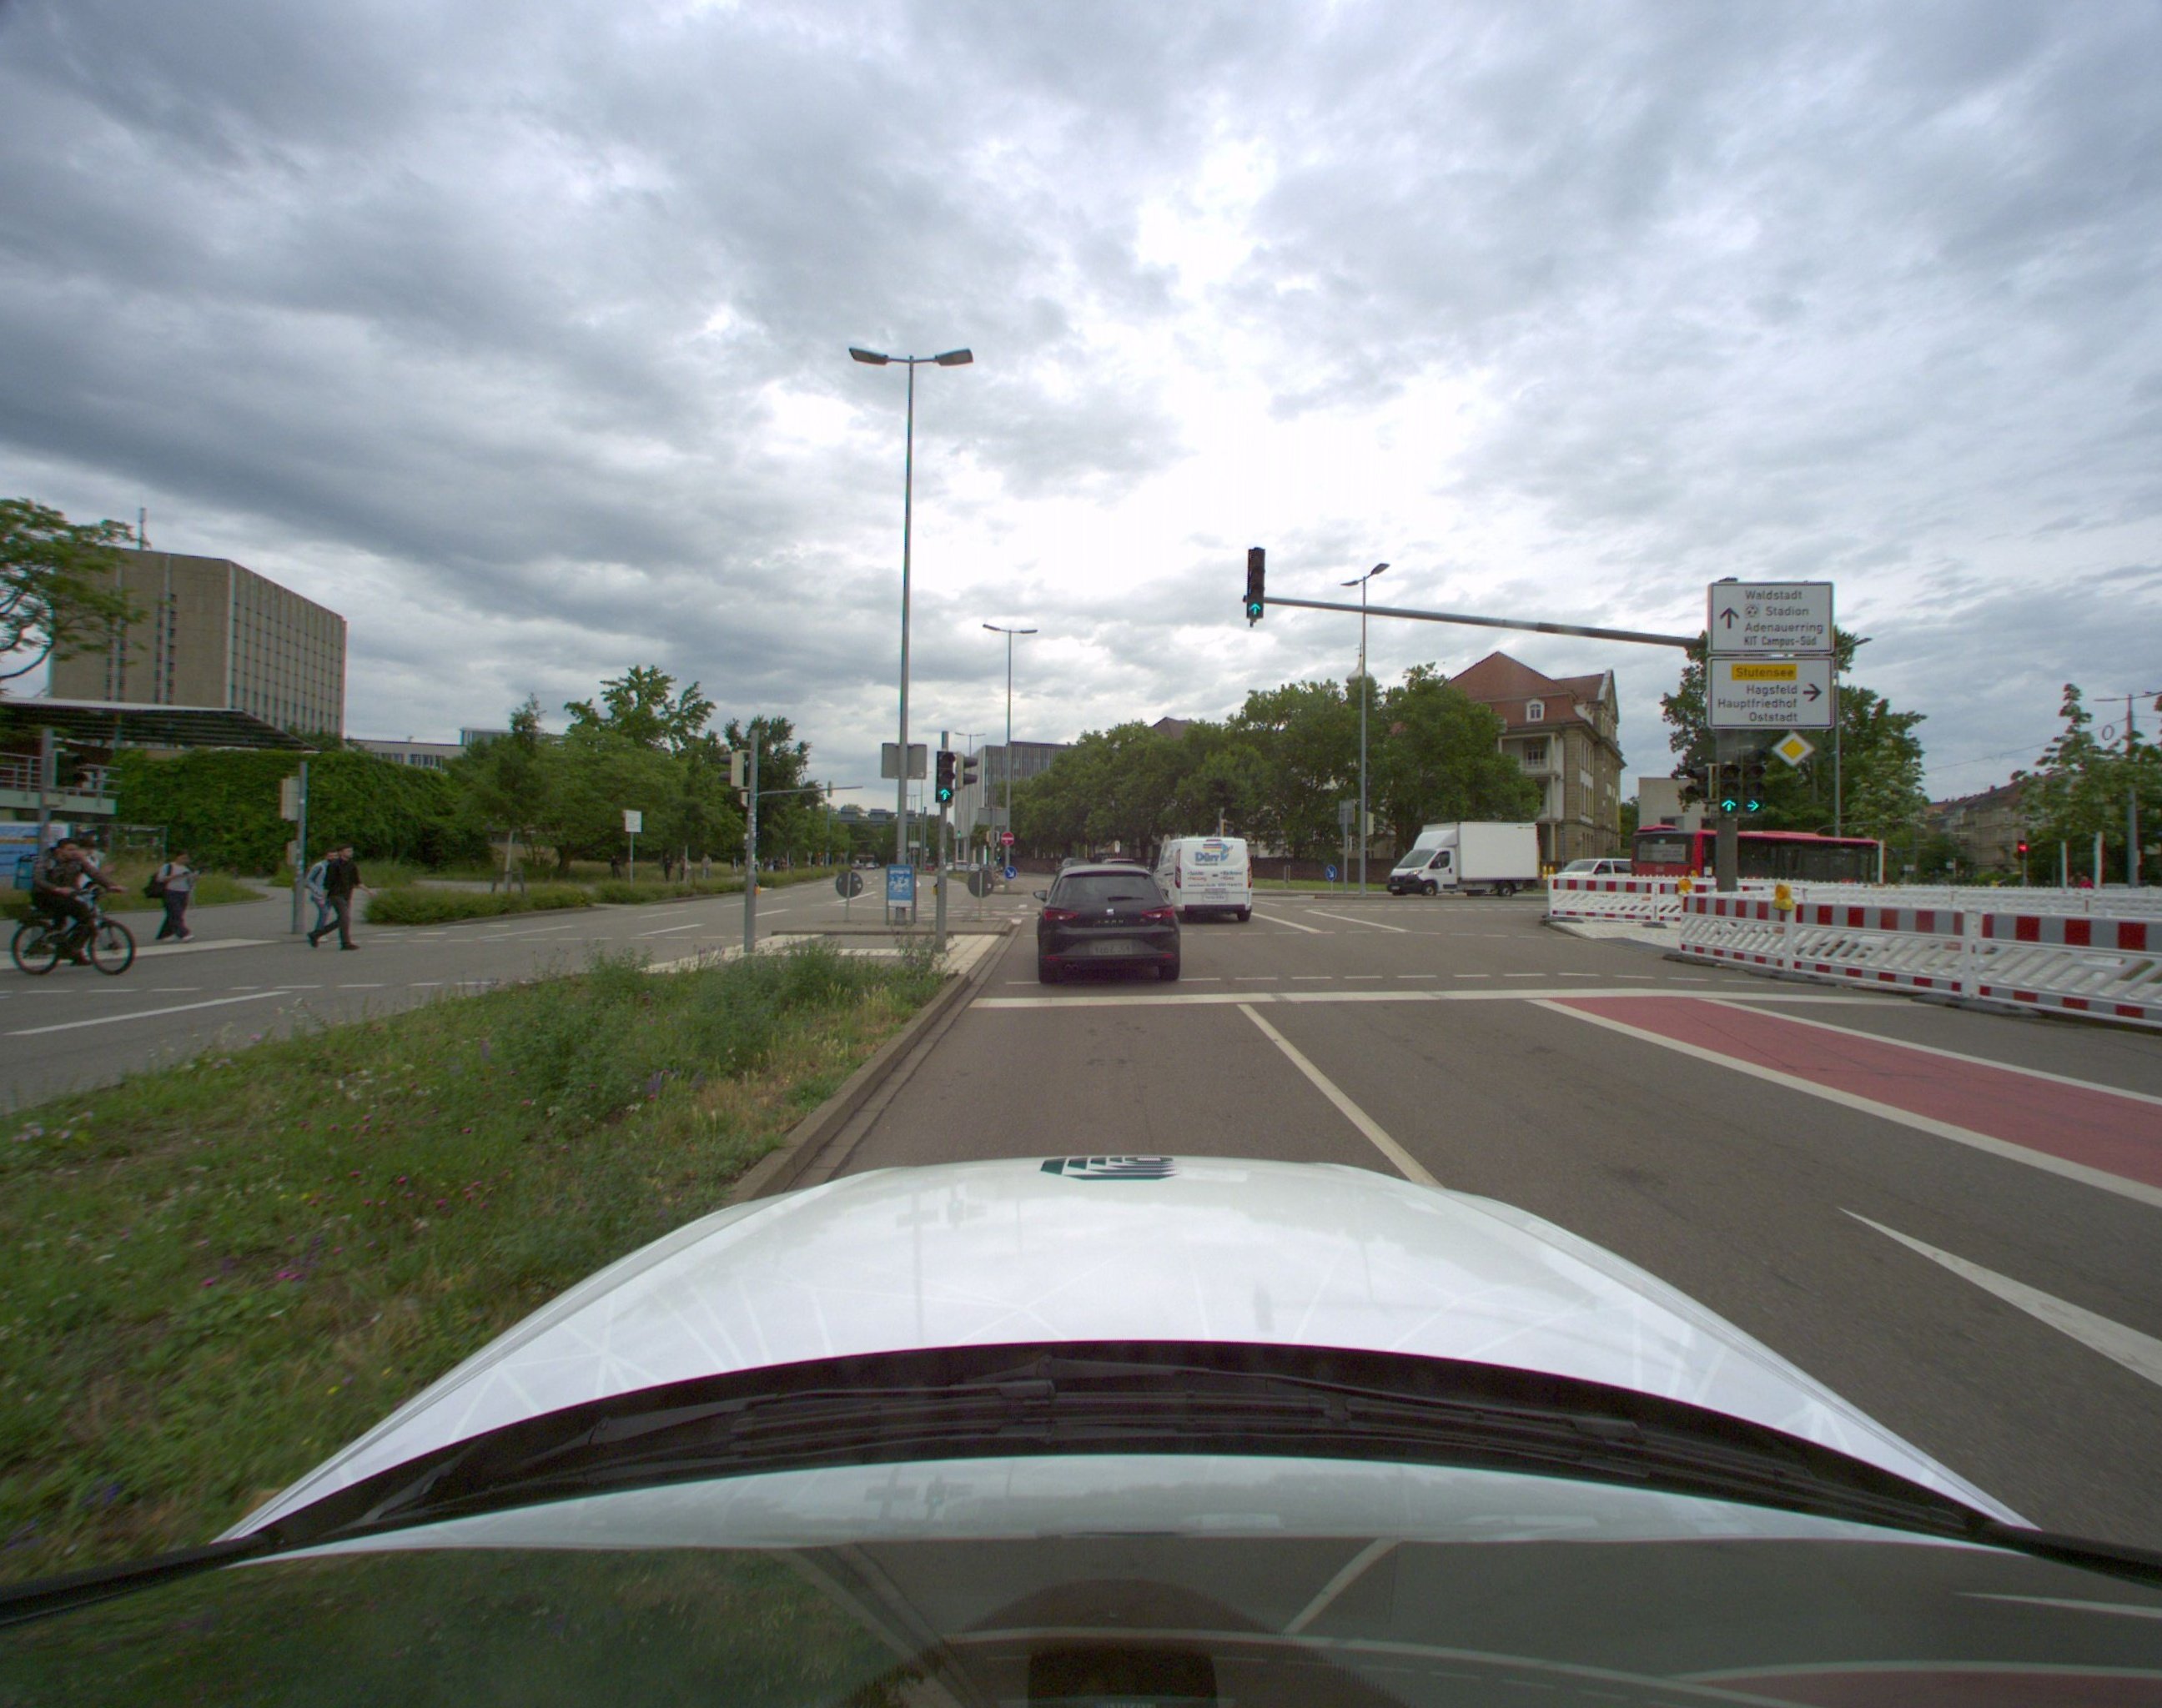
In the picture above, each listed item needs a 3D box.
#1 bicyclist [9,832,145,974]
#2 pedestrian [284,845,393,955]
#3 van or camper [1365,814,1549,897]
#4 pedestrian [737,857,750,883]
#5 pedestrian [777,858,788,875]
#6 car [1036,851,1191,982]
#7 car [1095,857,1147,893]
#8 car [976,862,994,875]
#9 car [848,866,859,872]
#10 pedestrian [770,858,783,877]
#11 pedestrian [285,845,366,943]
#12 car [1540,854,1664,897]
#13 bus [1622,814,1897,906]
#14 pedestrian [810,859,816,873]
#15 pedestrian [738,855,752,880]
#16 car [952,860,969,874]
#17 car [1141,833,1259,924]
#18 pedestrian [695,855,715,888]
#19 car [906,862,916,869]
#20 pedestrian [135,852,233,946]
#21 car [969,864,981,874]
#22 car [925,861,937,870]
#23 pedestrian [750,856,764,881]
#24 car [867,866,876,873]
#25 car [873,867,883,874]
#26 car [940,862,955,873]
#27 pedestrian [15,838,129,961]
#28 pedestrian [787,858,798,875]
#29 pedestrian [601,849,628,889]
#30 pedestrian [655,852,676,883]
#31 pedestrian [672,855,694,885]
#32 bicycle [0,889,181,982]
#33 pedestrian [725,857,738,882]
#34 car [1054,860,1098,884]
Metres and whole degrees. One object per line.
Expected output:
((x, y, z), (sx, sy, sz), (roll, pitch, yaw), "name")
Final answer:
((-13.602, 0.641, 11.063), (0.827, 1.844, 0.794), (0, -1, 6), "bicyclist")
((-12.910, 0.777, 14.189), (1.043, 1.842, 0.867), (0, -1, 5), "pedestrian")
((16.205, 0.152, 35.192), (7.145, 3.332, 2.860), (1, -2, -17), "van or camper")
((-24.991, 1.178, 60.342), (0.713, 1.870, 0.755), (1, -1, -7), "pedestrian")
((-31.008, 1.271, 84.723), (0.919, 1.779, 1.059), (1, -1, -12), "pedestrian")
((0.333, 0.762, 11.224), (1.741, 1.464, 3.997), (-1, -2, -1), "car")
((1.840, 0.966, 38.866), (1.856, 1.600, 4.195), (1, -1, -7), "car")
((-13.007, 1.965, 110.202), (1.921, 1.684, 3.980), (1, -1, -15), "car")
((-54.500, 3.671, 195.102), (1.888, 1.416, 3.822), (1, -1, -26), "car")
((-27.833, 1.230, 74.531), (0.919, 1.779, 1.059), (1, -1, -12), "pedestrian")
((-14.465, 0.751, 15.604), (0.889, 1.842, 0.668), (0, -1, 5), "pedestrian")
((23.965, 1.023, 37.505), (4.999, 1.865, 1.988), (1, -4, -17), "car")
((27.706, 0.360, 33.105), (12.384, 3.298, 3.046), (1, -1, -22), "bus")
((-40.875, 1.848, 124.067), (0.721, 2.014, 0.780), (1, -1, -7), "pedestrian")
((-26.816, 1.080, 64.941), (0.754, 2.014, 1.044), (1, -1, -8), "pedestrian")
((-16.731, 1.813, 113.342), (1.996, 2.014, 3.981), (1, -1, -13), "car")
((2.865, 0.579, 20.761), (1.989, 2.019, 5.025), (1, -1, -4), "car")
((-23.236, 1.102, 50.385), (0.753, 2.014, 1.045), (0, -1, -4), "pedestrian")
((-32.608, 2.249, 156.223), (1.715, 1.265, 3.322), (1, -1, -16), "car")
((-16.238, 0.796, 14.764), (0.837, 1.649, 0.807), (0, -1, 5), "pedestrian")
((-15.770, 2.245, 121.088), (1.527, 1.365, 2.955), (1, -1, -14), "car")
((-28.198, 2.124, 153.160), (1.996, 1.682, 3.992), (1, -1, -13), "car")
((-25.903, 1.149, 65.161), (0.754, 2.014, 1.044), (1, -1, -8), "pedestrian")
((-46.011, 3.447, 178.853), (1.692, 1.416, 3.619), (1, -1, -20), "car")
((-54.820, 4.454, 219.590), (2.002, 1.780, 3.968), (1, -1, -24), "car")
((-20.911, 2.159, 127.490), (1.997, 1.640, 3.979), (1, -1, -15), "car")
((-15.769, 0.697, 12.750), (0.753, 1.842, 0.767), (2, -1, 5), "pedestrian")
((-30.054, 1.294, 84.950), (0.919, 1.779, 1.059), (1, -1, -12), "pedestrian")
((-23.766, 0.770, 41.485), (0.753, 2.014, 1.045), (0, -1, -4), "pedestrian")
((-23.724, 0.770, 46.476), (0.753, 1.765, 0.905), (0, -1, -4), "pedestrian")
((-22.925, 0.929, 46.962), (0.753, 1.713, 1.045), (0, -1, -4), "pedestrian")
((-13.544, 1.080, 11.043), (1.891, 1.159, 0.792), (0, -1, 5), "bicycle")
((-25.787, 1.147, 60.115), (0.713, 1.870, 0.755), (1, -1, -8), "pedestrian")
((-0.392, 1.188, 54.864), (1.997, 1.566, 4.184), (1, -1, -15), "car")
